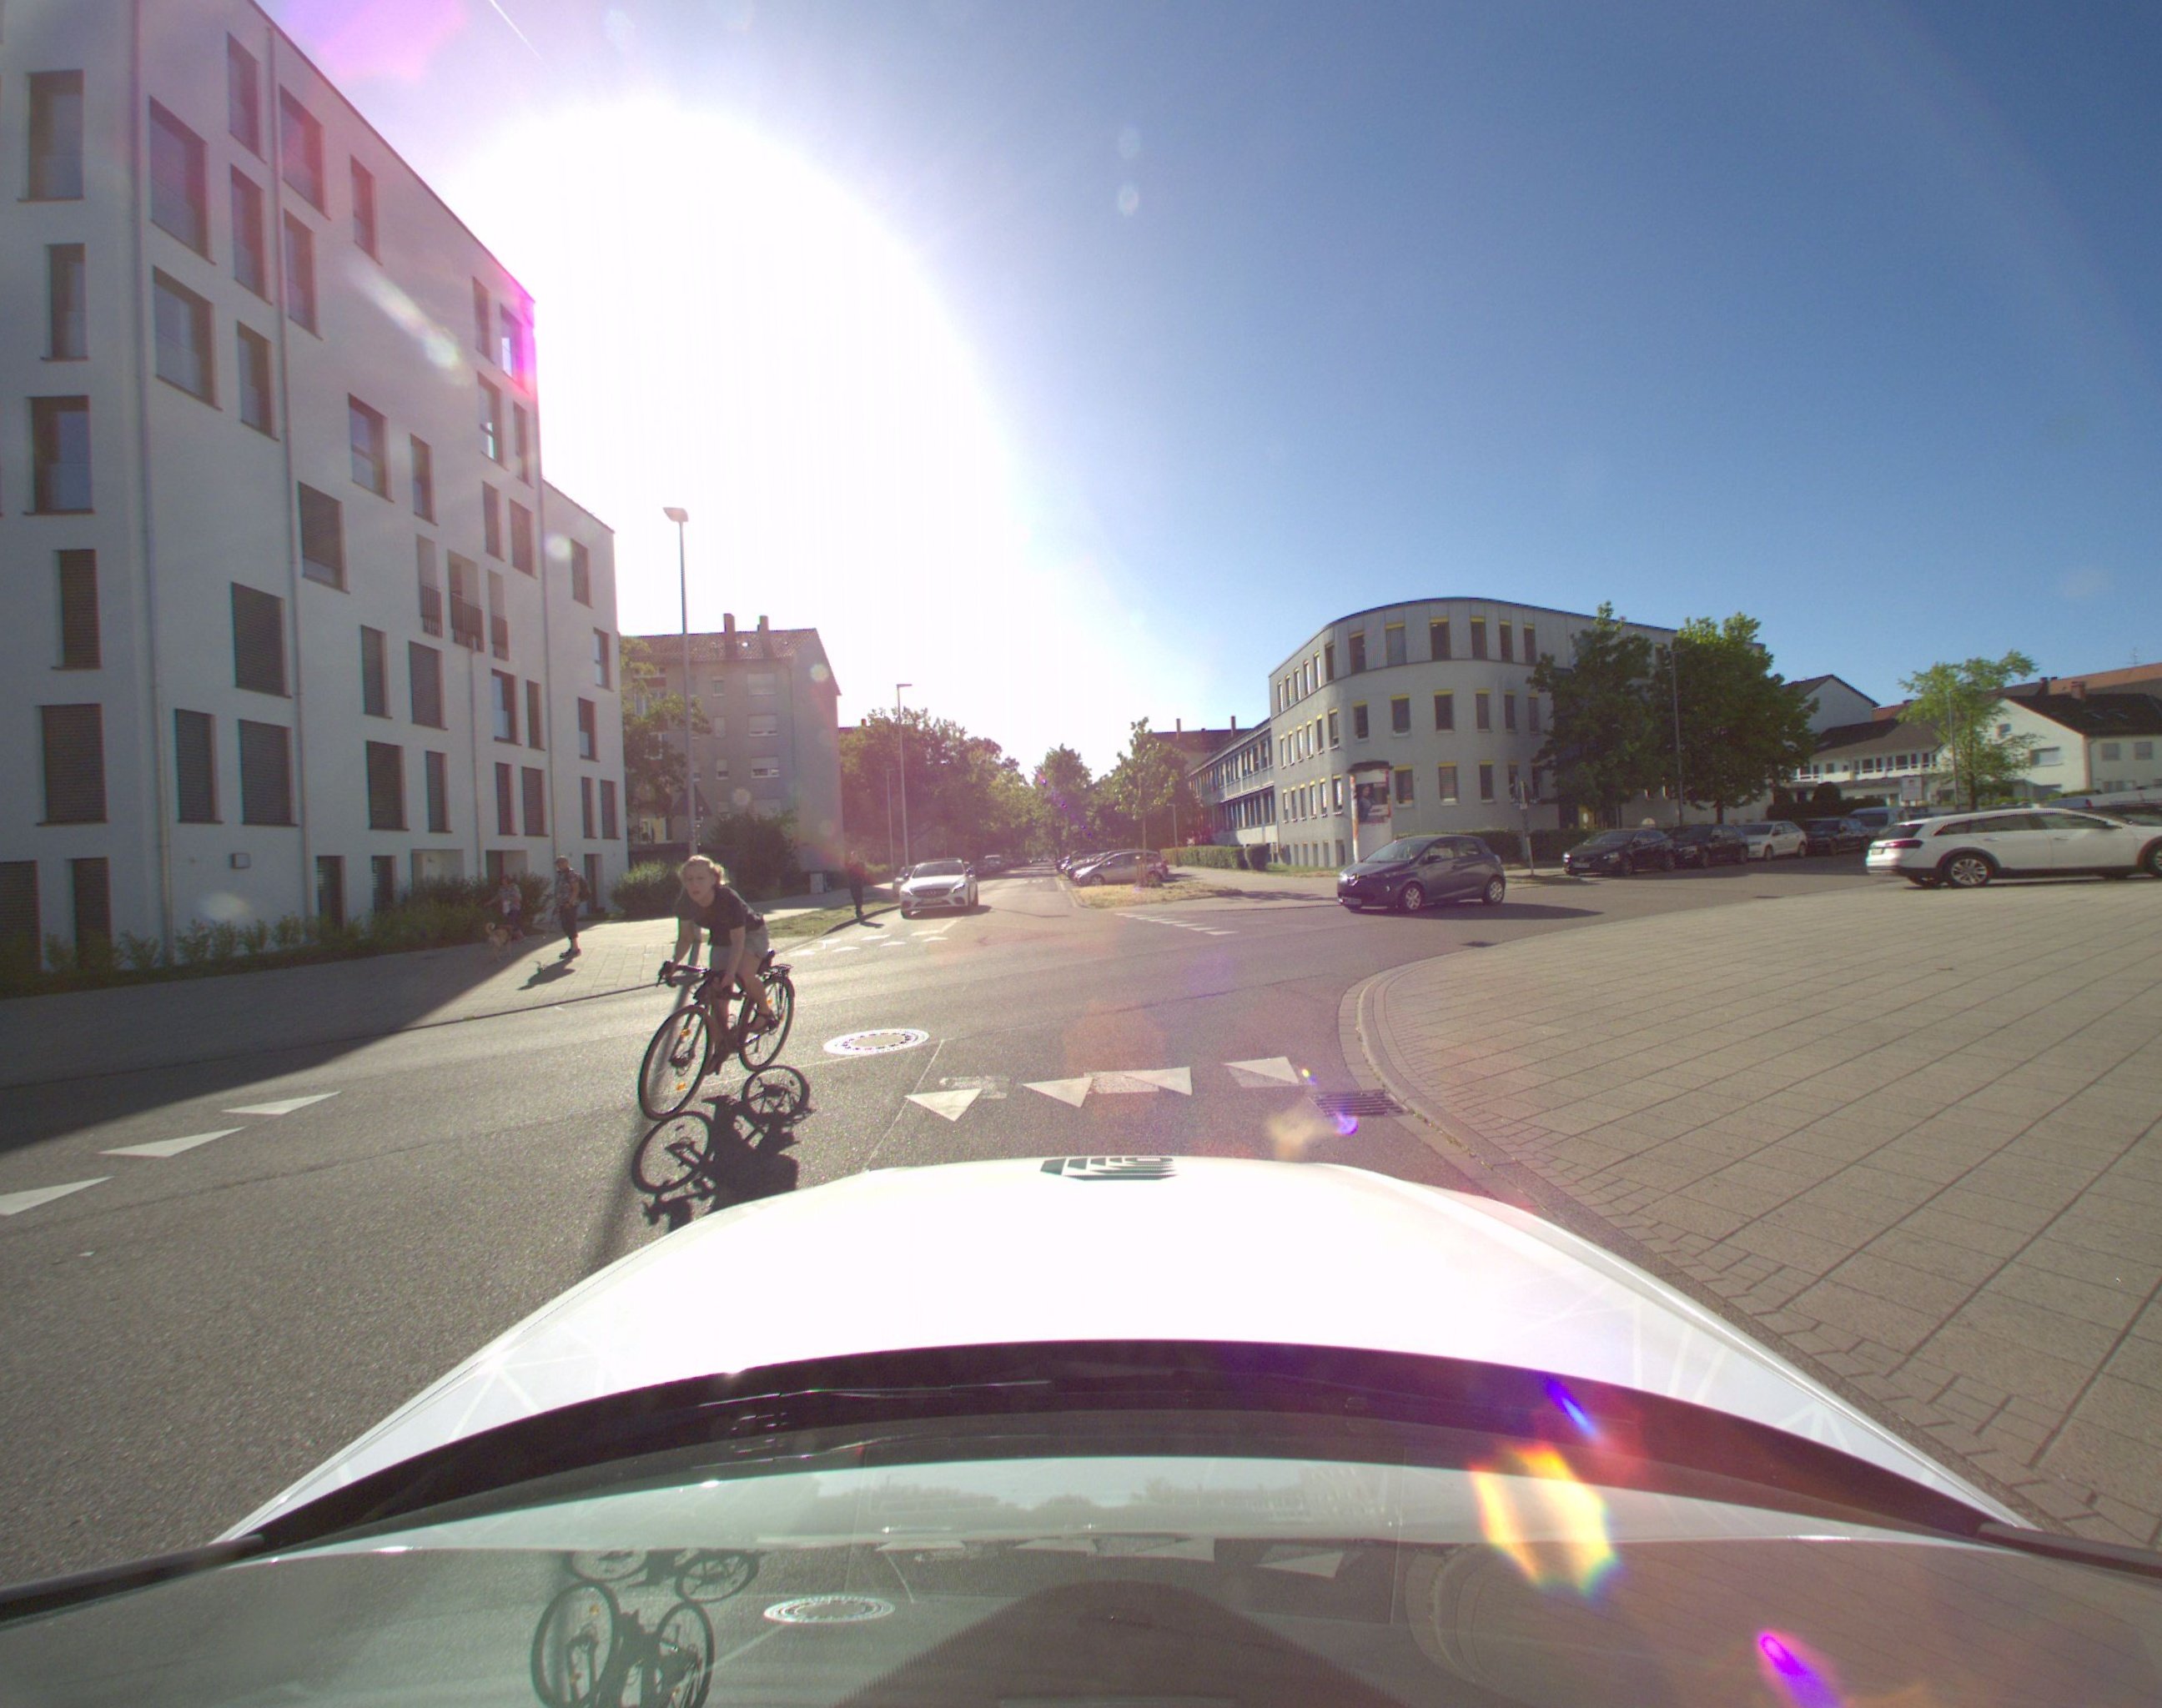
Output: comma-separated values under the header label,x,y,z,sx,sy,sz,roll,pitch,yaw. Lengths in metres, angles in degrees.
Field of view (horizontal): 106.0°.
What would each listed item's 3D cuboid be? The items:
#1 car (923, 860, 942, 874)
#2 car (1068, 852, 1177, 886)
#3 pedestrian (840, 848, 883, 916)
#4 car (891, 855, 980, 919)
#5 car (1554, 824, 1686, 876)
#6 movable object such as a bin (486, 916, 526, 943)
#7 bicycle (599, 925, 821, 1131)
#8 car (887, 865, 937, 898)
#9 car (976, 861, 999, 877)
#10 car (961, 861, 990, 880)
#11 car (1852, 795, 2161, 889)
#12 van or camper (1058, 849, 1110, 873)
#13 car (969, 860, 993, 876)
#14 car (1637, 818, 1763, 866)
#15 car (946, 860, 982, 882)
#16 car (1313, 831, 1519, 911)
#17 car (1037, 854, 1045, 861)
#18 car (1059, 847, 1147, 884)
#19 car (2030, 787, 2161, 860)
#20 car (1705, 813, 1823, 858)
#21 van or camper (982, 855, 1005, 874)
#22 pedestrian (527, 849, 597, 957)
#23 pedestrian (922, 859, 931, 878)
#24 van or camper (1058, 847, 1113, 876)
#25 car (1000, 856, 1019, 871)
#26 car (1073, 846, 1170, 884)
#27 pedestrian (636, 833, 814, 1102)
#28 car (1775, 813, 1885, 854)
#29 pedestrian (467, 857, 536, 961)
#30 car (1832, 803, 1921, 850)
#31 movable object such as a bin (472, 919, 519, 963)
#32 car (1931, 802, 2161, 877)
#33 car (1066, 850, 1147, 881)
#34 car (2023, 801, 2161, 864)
label,x,y,z,sx,sy,sz,roll,pitch,yaw
car,-14.144,1.234,77.499,1.270,1.225,2.662,-3,0,0
car,1.896,0.674,38.053,4.865,1.274,1.725,-3,-1,-7
pedestrian,-5.770,0.718,21.487,0.869,1.714,0.977,-3,0,-6
car,-3.935,0.823,22.751,1.882,1.504,4.632,-3,0,-4
car,17.133,-0.147,25.847,4.236,1.410,1.778,-3,1,-30
movable object such as a bin,-12.946,1.706,18.345,0.269,0.541,0.689,-2,-1,18
bicycle,-2.418,1.072,5.592,0.546,1.012,1.920,-2,-1,2
car,-7.625,1.213,36.995,1.664,1.420,3.994,-1,-1,-4
car,-9.350,1.492,81.731,1.838,1.398,3.997,-3,-1,-1
car,-8.448,1.282,65.267,1.838,1.398,3.997,-3,-1,-1
car,19.171,-0.238,16.416,4.812,1.464,1.985,-5,-1,27
van or camper,0.208,0.571,64.532,3.978,1.772,1.998,-2,-1,-3
car,-9.037,1.231,73.891,1.990,1.408,3.901,-1,-1,-4
car,21.532,-0.421,28.310,4.393,1.479,1.896,-2,0,-30
car,-8.290,1.194,57.943,1.988,1.398,3.997,-3,-1,-1
car,7.164,0.317,17.362,4.148,1.504,1.826,-1,0,-28
car,-10.561,0.854,215.758,1.989,1.747,3.996,-3,0,-3
car,1.069,0.564,41.212,4.271,1.765,1.997,-1,-1,-5
car,31.404,-0.957,23.619,4.476,1.898,2.060,-4,-3,21
car,25.801,-0.698,30.736,4.638,1.530,1.896,-2,0,-30
van or camper,-9.412,1.125,87.863,1.987,2.014,4.000,-1,-1,1
pedestrian,-9.408,0.868,14.808,0.844,1.885,0.788,0,-1,-13
pedestrian,-14.060,1.326,74.080,0.633,1.664,0.698,-3,0,-8
van or camper,0.307,0.558,61.759,3.978,2.014,1.998,-2,-1,-3
car,-10.123,1.344,115.265,1.984,2.014,4.006,-1,-1,6
car,1.747,0.486,36.009,4.083,1.492,1.725,-2,-1,-6
pedestrian,-2.357,0.700,5.516,0.687,1.640,1.047,-1,-1,3
car,30.285,-0.828,32.915,4.621,1.439,1.723,-3,0,-27
pedestrian,-12.459,1.153,17.503,0.766,2.120,0.964,-2,1,41
car,34.715,-1.208,35.510,4.355,1.838,1.676,-3,0,-31
movable object such as a bin,-10.448,1.547,14.539,0.271,0.680,0.847,-3,0,-6
car,22.308,-0.296,18.242,4.118,1.497,1.834,-2,-2,28
car,1.329,0.624,44.045,4.196,1.596,1.997,-1,-1,-4
car,28.506,-0.630,21.756,3.945,1.489,1.627,-5,-4,30
